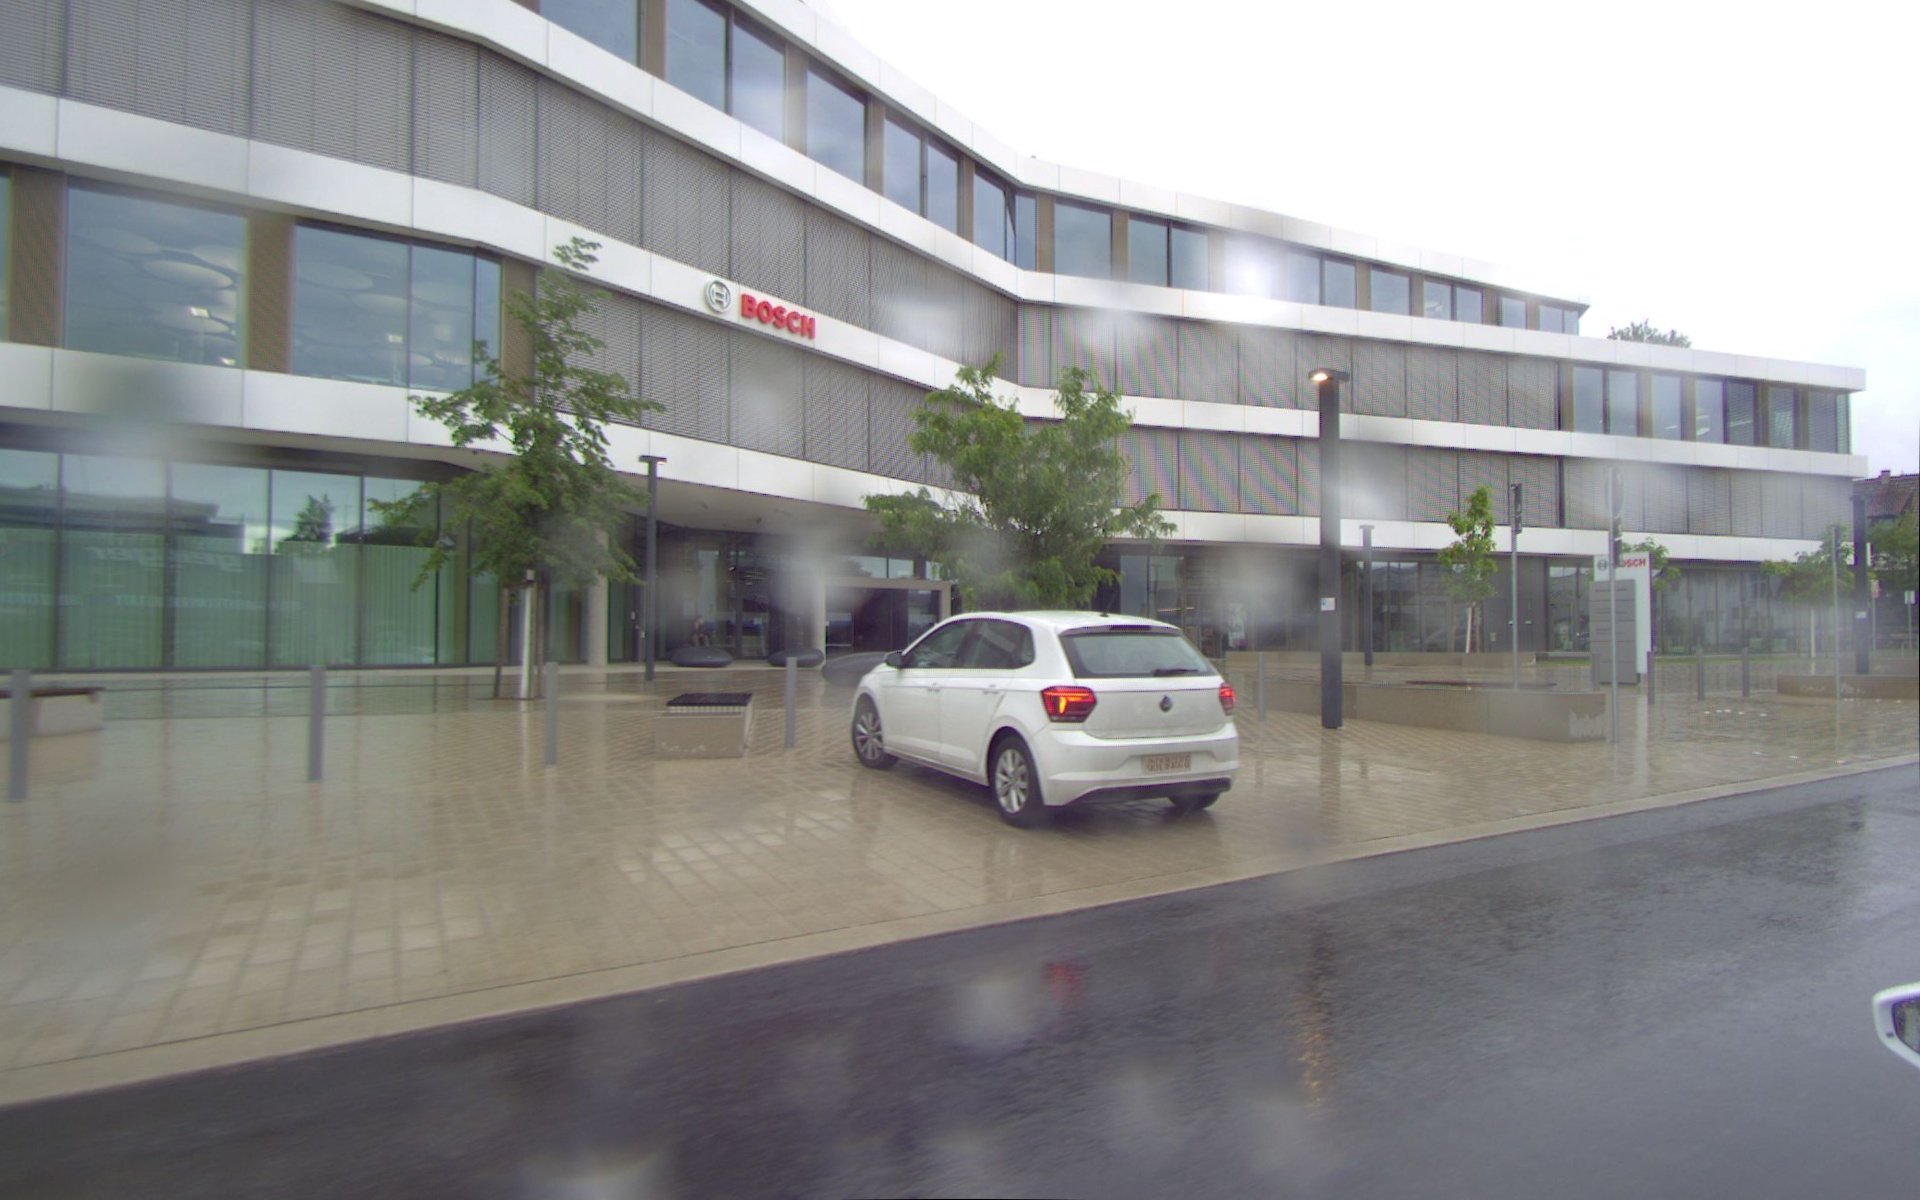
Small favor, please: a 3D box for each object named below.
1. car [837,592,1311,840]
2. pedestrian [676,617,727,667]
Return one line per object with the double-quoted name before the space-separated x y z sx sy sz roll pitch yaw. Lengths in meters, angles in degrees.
"car" 0.614 0.749 8.043 1.875 1.442 3.911 1 -2 -29
"pedestrian" -7.349 1.177 28.584 0.883 1.332 1.059 3 1 33
